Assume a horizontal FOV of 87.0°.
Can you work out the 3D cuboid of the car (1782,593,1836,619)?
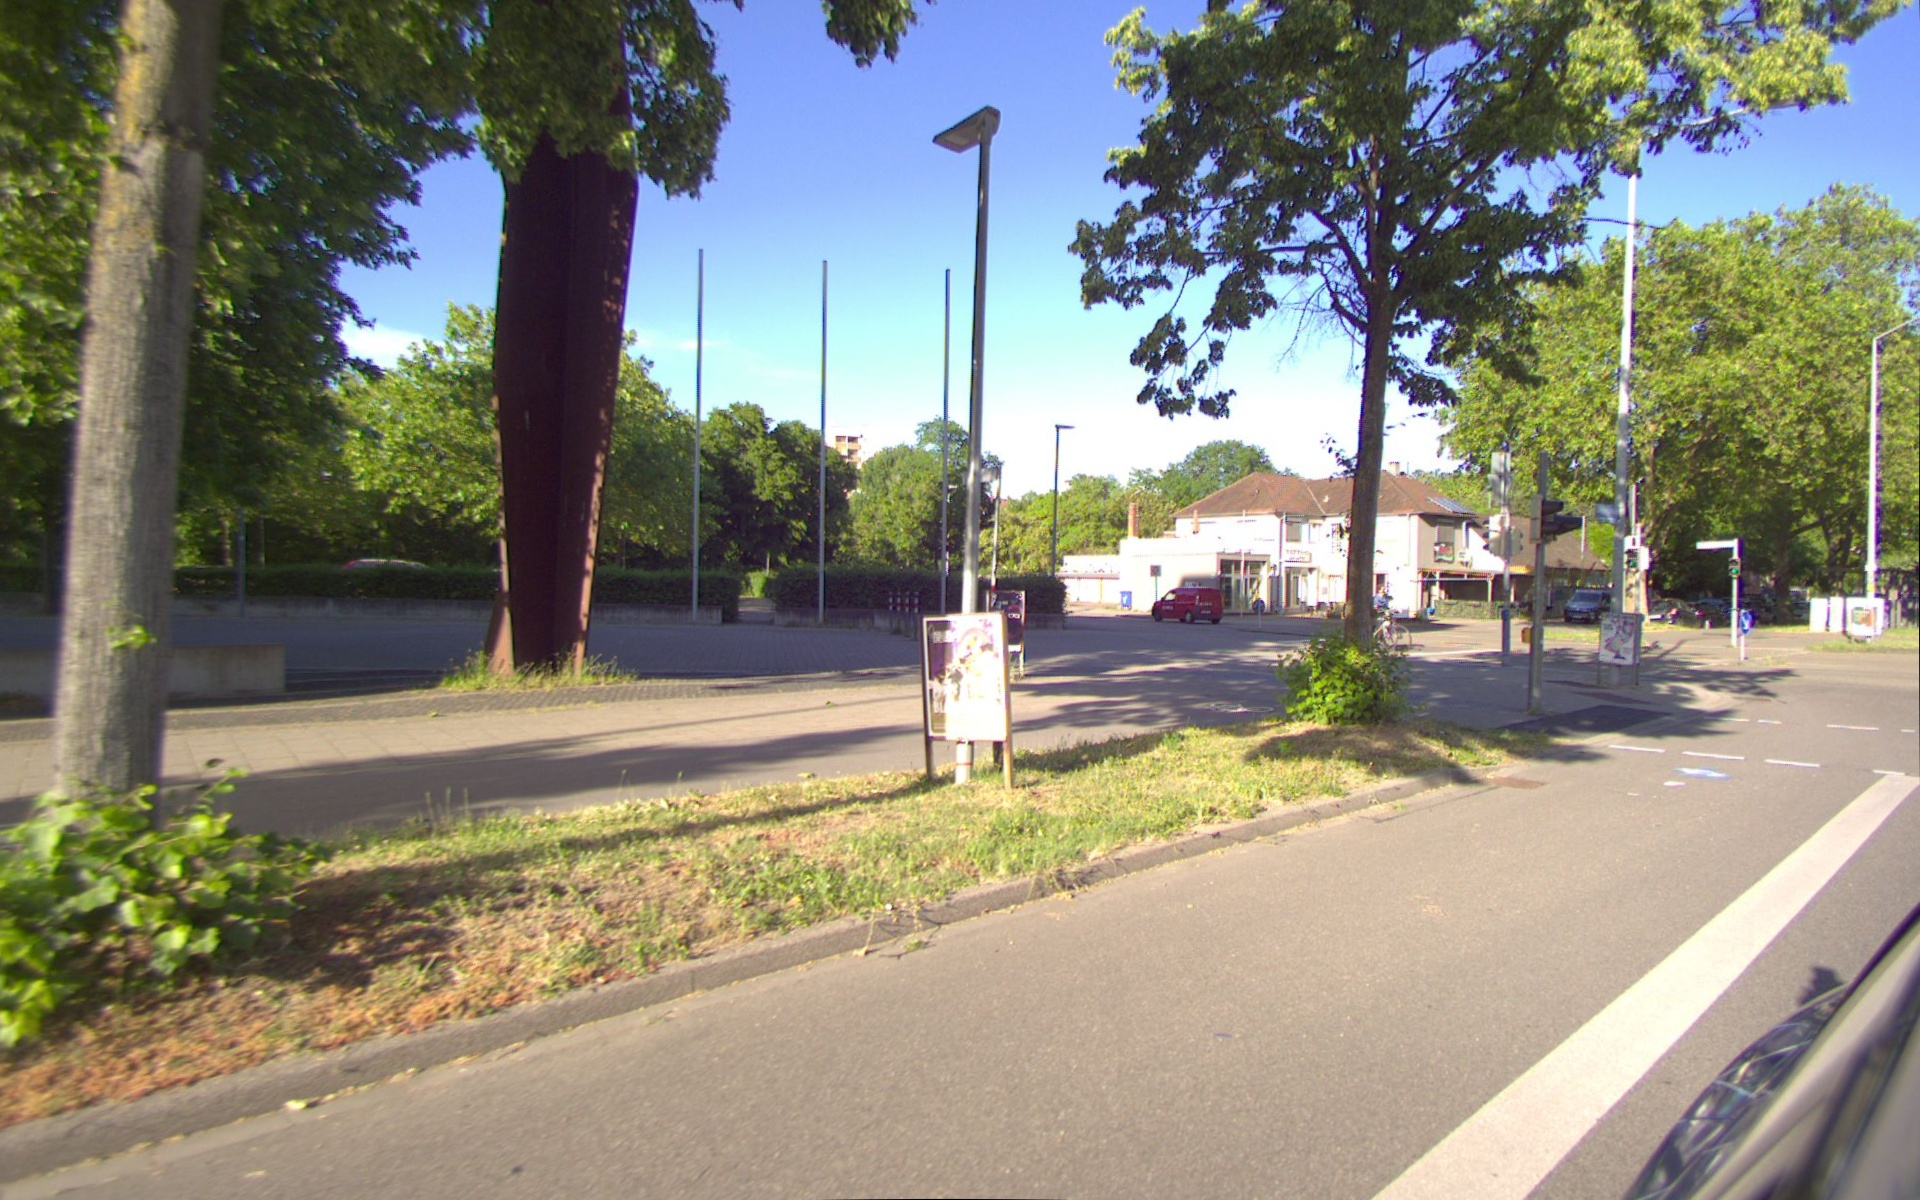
[{"bbox_3d":[50.570,0.341,60.258,3.979,1.504,1.897,0,1,-41],"label":"car"}]

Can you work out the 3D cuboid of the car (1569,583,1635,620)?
[{"bbox_3d":[39.094,0.068,61.583,4.979,2.061,1.899,0,3,-39],"label":"car"}]

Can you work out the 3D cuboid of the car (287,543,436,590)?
[{"bbox_3d":[-20.244,-1.115,34.392,3.916,1.484,2.004,1,0,-12],"label":"car"}]

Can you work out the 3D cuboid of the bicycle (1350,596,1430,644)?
[{"bbox_3d":[11.850,0.525,27.954,0.540,1.218,2.107,1,1,-29],"label":"bicycle"}]

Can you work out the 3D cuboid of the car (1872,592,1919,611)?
[{"bbox_3d":[67.206,0.077,72.466,4.567,1.265,1.999,0,1,-36],"label":"car"}]

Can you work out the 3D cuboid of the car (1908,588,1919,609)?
[{"bbox_3d":[76.788,-0.125,79.832,4.566,1.616,2.000,0,1,-35],"label":"car"}]

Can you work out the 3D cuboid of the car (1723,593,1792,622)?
[{"bbox_3d":[43.079,0.392,54.648,4.265,1.507,1.899,0,1,-37],"label":"car"}]

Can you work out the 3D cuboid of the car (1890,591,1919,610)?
[{"bbox_3d":[72.414,0.037,76.831,4.778,1.380,1.998,0,1,-38],"label":"car"}]

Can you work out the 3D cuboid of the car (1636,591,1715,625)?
[{"bbox_3d":[32.575,0.315,46.045,3.963,1.484,1.898,0,1,-38],"label":"car"}]

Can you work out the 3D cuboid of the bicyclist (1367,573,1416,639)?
[{"bbox_3d":[11.874,0.161,27.872,0.815,1.759,0.878,1,1,-29],"label":"bicyclist"}]

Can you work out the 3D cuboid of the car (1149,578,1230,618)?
[{"bbox_3d":[11.279,-0.082,49.982,1.815,1.838,4.121,1,-1,-23],"label":"car"}]

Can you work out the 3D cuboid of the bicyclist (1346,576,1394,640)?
[{"bbox_3d":[11.092,0.210,27.402,0.777,1.674,0.878,1,1,-29],"label":"bicyclist"}]

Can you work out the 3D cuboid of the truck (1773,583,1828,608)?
[{"bbox_3d":[73.967,-0.433,89.013,6.460,2.101,2.455,0,1,-38],"label":"truck"}]

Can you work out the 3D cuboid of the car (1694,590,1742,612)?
[{"bbox_3d":[57.155,0.049,76.256,4.574,1.548,1.997,0,3,-42],"label":"car"}]

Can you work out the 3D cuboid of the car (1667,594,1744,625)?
[{"bbox_3d":[35.974,0.429,48.834,4.266,1.429,1.899,0,1,-37],"label":"car"}]

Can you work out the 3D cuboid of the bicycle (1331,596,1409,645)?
[{"bbox_3d":[11.086,0.527,27.437,0.540,1.218,2.108,1,1,-26],"label":"bicycle"}]
